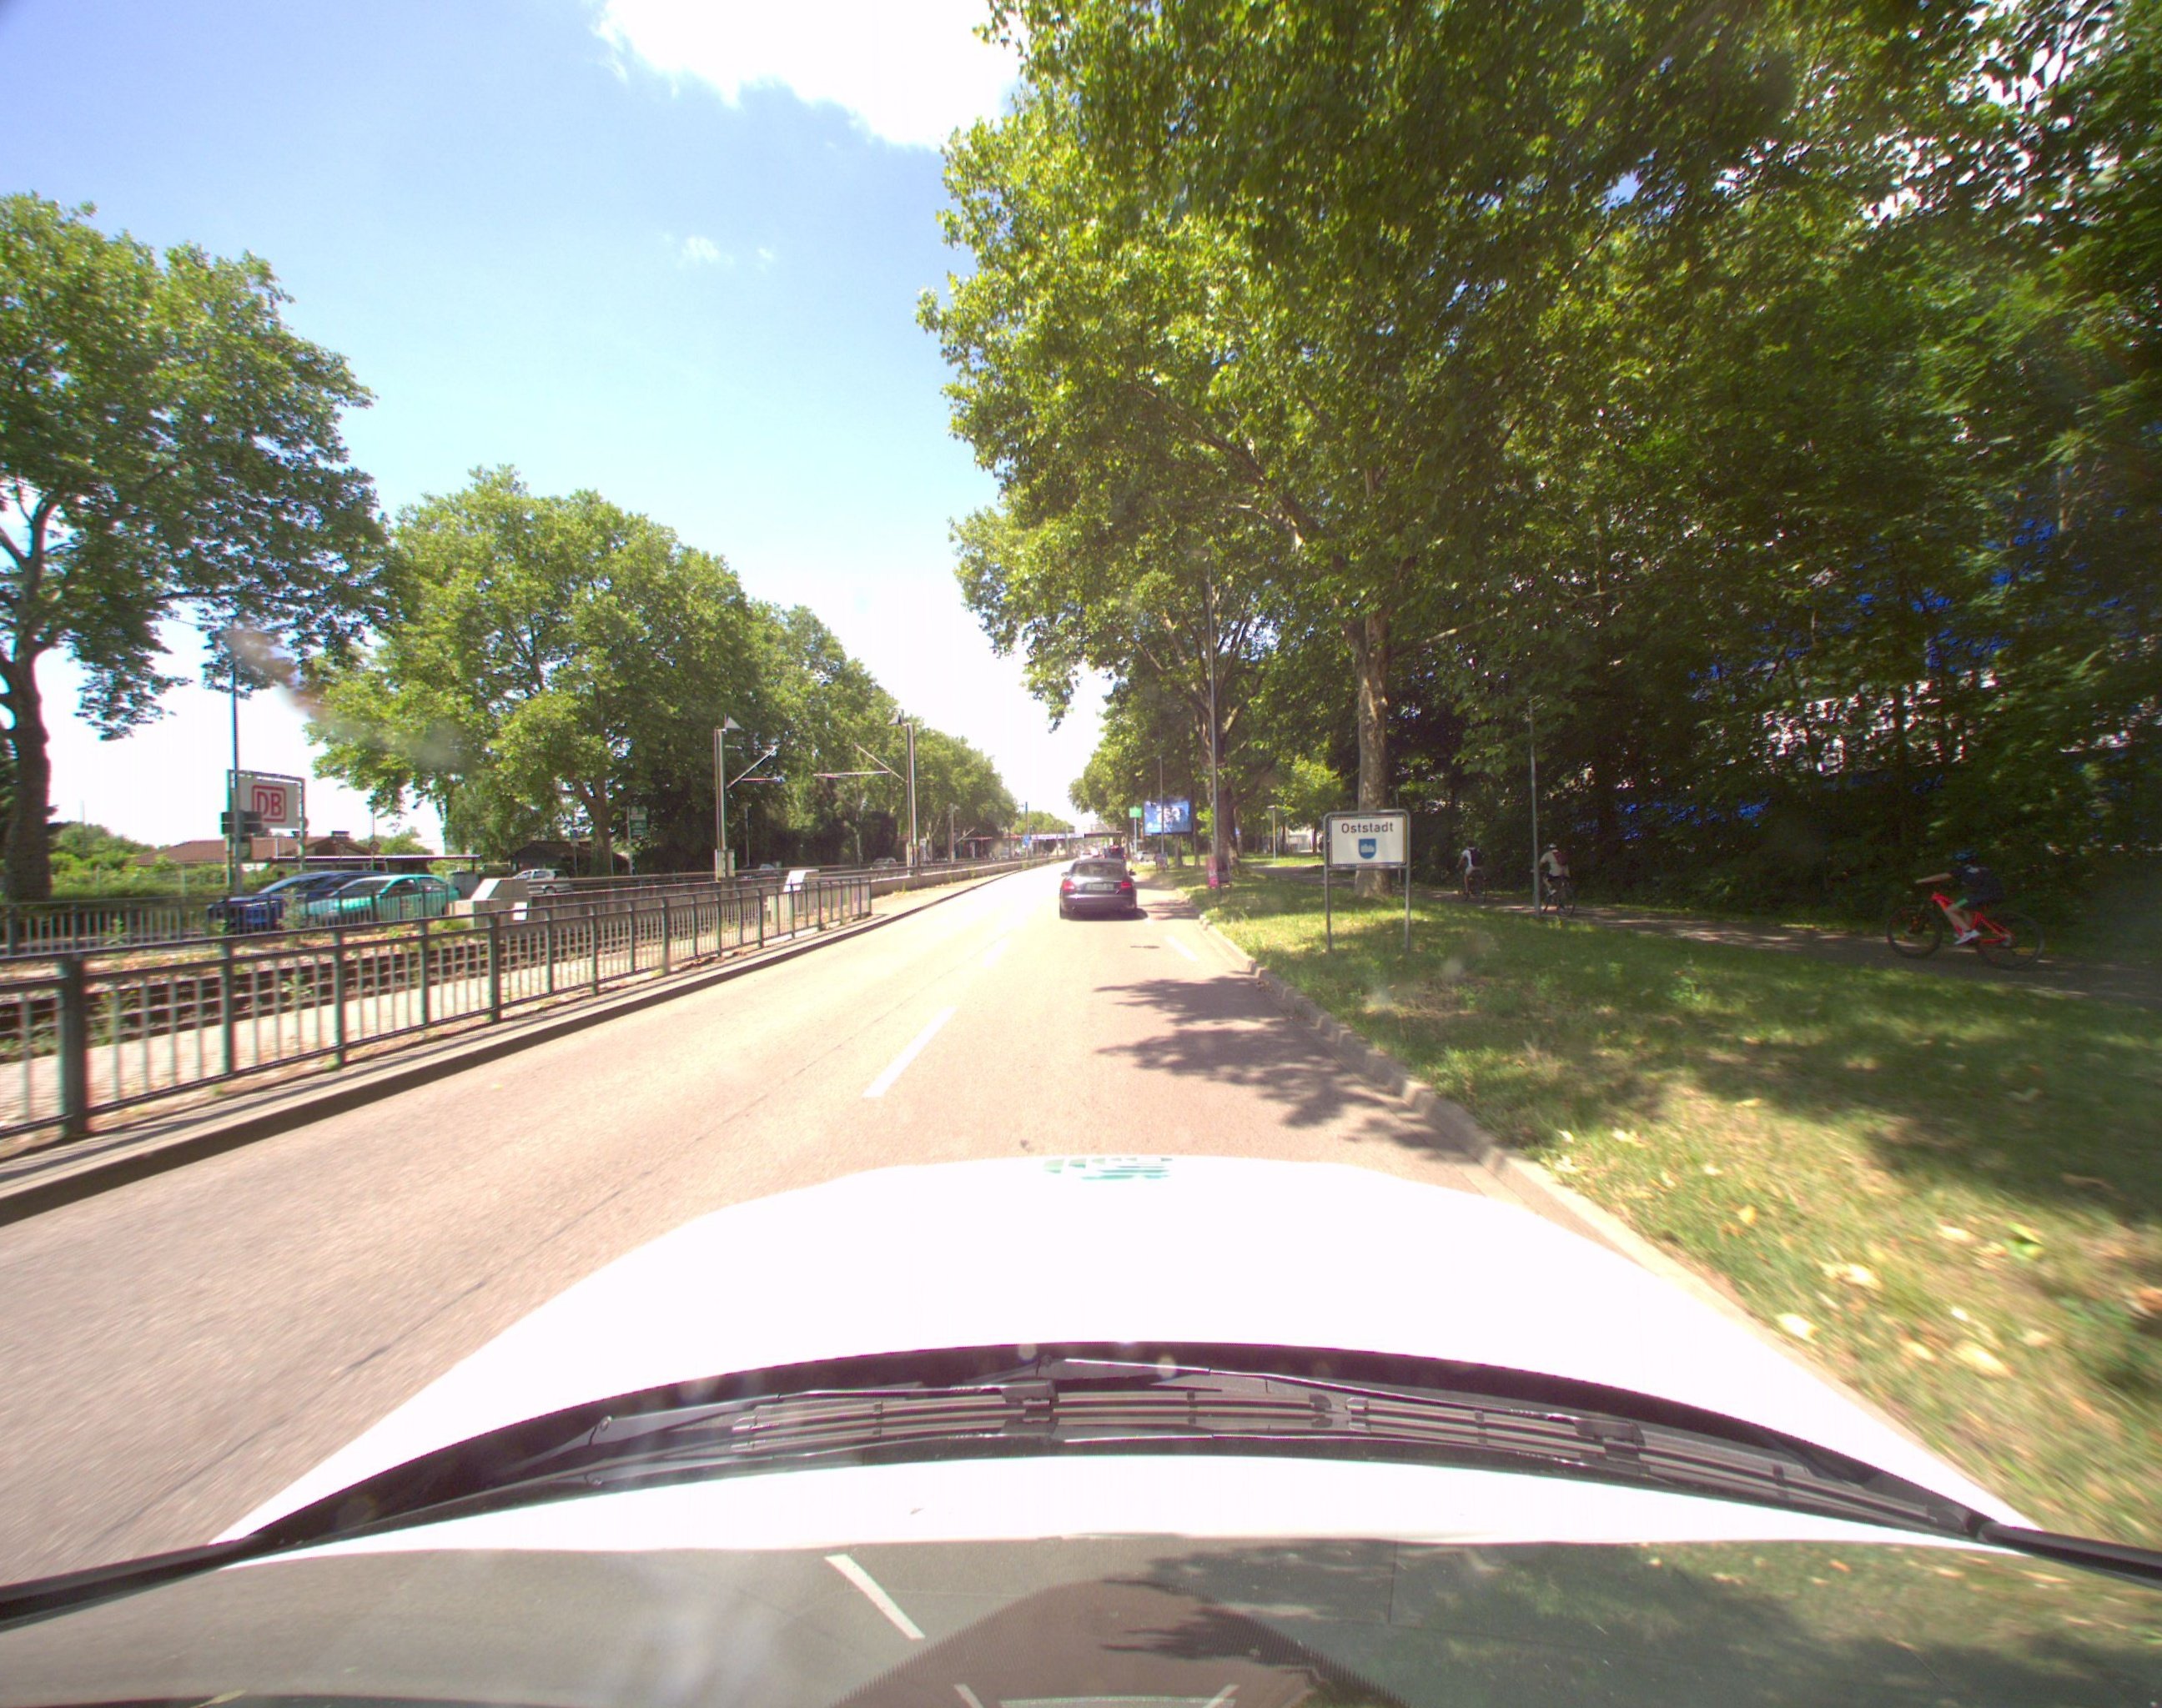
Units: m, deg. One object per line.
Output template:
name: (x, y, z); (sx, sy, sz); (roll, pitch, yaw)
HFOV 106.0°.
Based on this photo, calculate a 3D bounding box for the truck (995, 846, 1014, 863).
truck: (-13.990, 0.118, 150.031); (2.983, 3.020, 7.993); (-1, 0, -2)

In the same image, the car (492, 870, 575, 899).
car: (-29.895, 1.649, 44.563); (3.316, 1.475, 1.649); (-1, 0, -10)

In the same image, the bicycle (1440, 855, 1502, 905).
bicycle: (11.713, 0.745, 24.574); (0.608, 1.420, 2.662); (-2, 0, 1)

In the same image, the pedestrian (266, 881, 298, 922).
pedestrian: (-28.858, 1.712, 29.424); (0.556, 1.452, 0.643); (-1, 0, -13)

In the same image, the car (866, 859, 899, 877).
car: (-19.428, 1.352, 79.837); (1.859, 1.684, 4.388); (2, 0, 4)

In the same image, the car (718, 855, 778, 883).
car: (-20.971, 0.926, 51.532); (1.736, 1.684, 4.388); (-1, 0, 4)

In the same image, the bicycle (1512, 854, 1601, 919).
bicycle: (11.330, 0.719, 19.519); (0.608, 1.420, 2.662); (-2, 0, 1)

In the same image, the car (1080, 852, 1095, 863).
car: (0.855, 0.467, 109.846); (1.840, 1.464, 3.999); (-1, 0, 0)

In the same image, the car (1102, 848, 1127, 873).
car: (2.657, 0.489, 64.463); (1.840, 1.959, 4.148); (0, 0, 4)

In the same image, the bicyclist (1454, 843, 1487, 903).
bicyclist: (11.672, 0.559, 24.437); (0.595, 1.746, 0.843); (-1, 0, 1)

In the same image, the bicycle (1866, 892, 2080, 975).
bicycle: (11.668, 0.999, 10.774); (0.643, 0.887, 2.024); (-1, 0, 1)

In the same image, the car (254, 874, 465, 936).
car: (-17.711, 1.190, 20.264); (1.638, 1.265, 3.841); (-1, 0, 4)

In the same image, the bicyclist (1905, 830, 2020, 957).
bicyclist: (11.640, 0.499, 10.779); (0.620, 1.610, 0.817); (-1, 0, 1)

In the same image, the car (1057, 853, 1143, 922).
car: (0.378, 0.752, 20.149); (1.838, 1.484, 3.996); (-1, 0, -3)

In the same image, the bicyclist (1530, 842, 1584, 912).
bicyclist: (11.323, 0.537, 19.414); (0.656, 1.599, 1.054); (-1, 0, 2)

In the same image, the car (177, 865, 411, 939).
car: (-20.657, 1.175, 21.696); (1.736, 1.684, 4.388); (2, 0, 4)
